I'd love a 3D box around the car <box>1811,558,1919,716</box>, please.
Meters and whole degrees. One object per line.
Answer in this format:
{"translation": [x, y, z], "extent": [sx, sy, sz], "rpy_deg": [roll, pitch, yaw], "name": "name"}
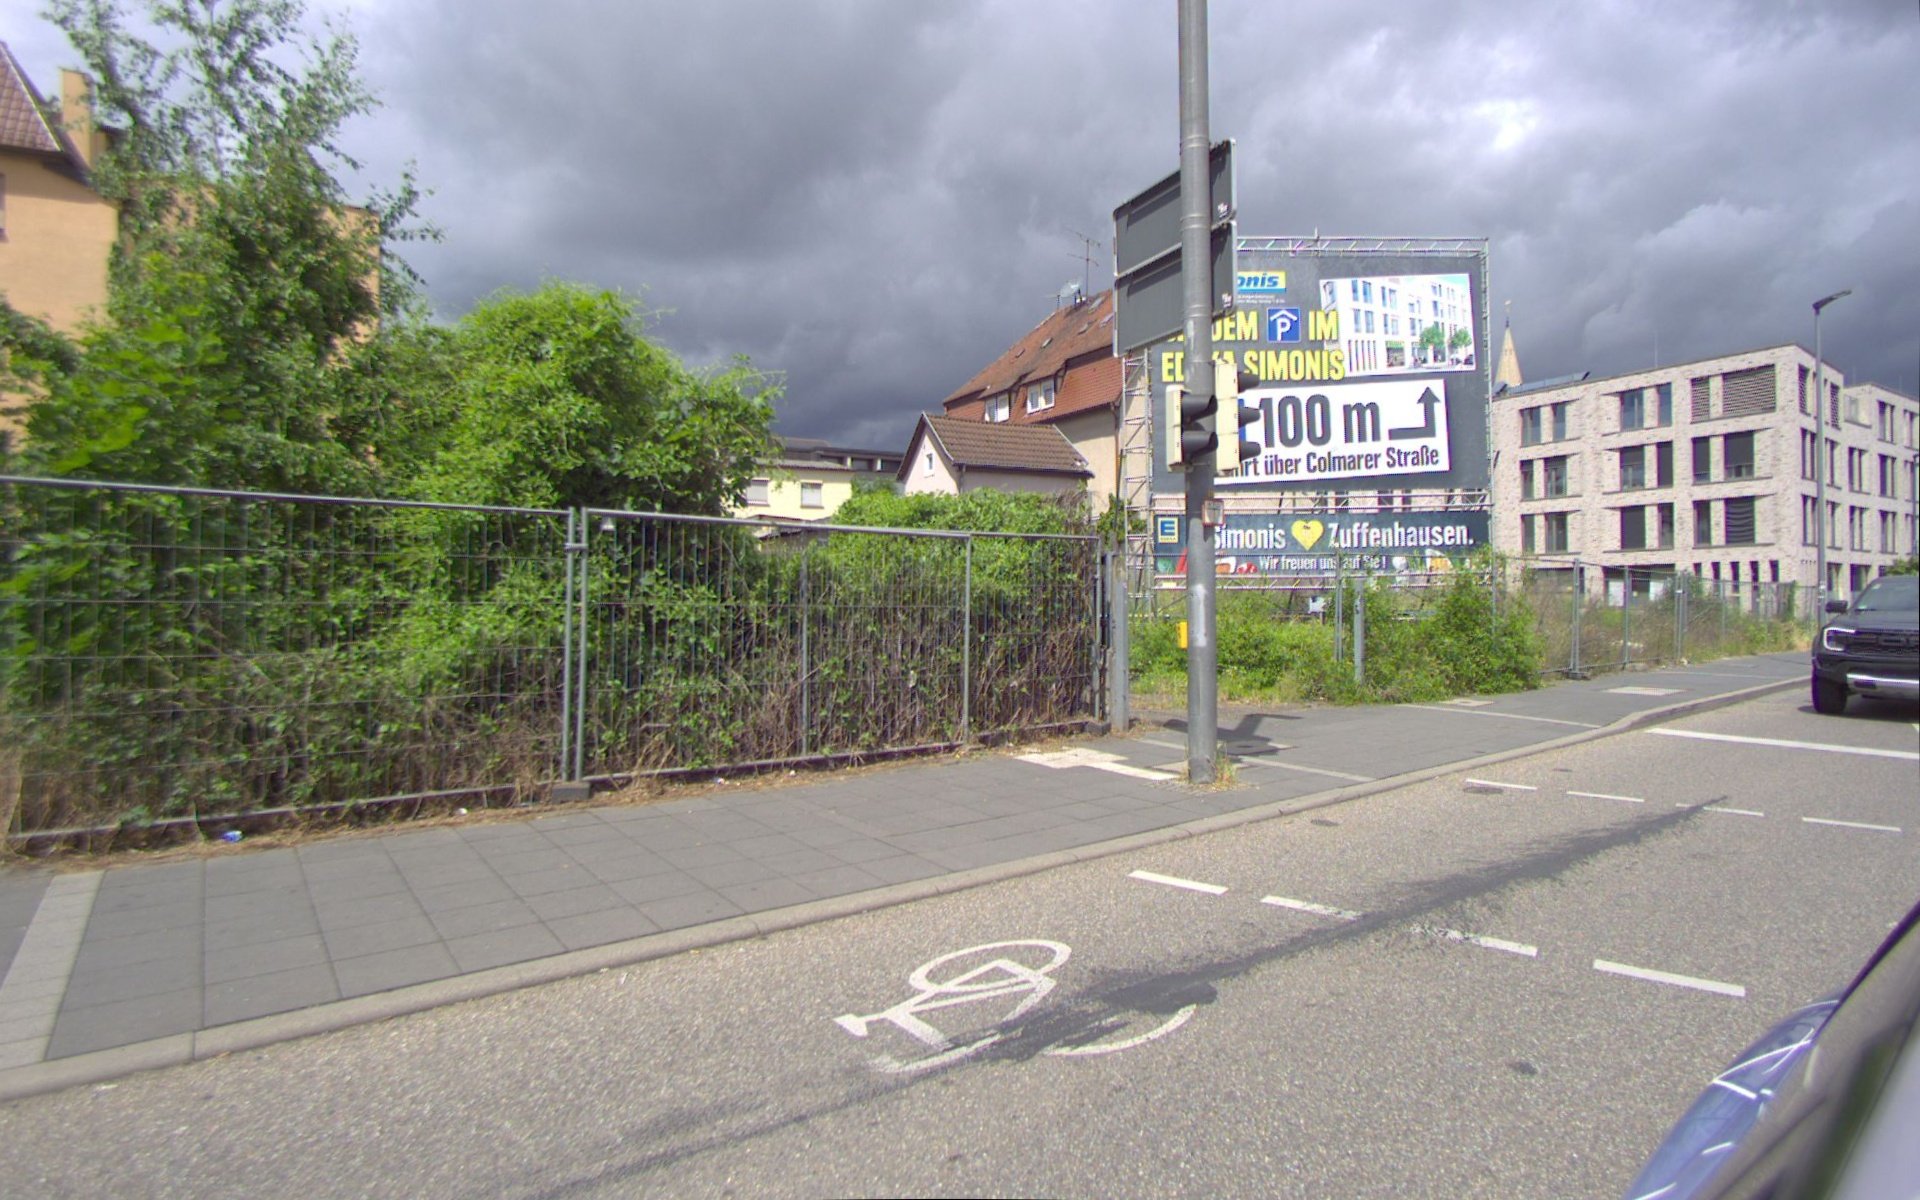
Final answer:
{"translation": [13.599, 0.403, 13.801], "extent": [5.056, 1.910, 2.005], "rpy_deg": [-1, 2, -37], "name": "car"}
